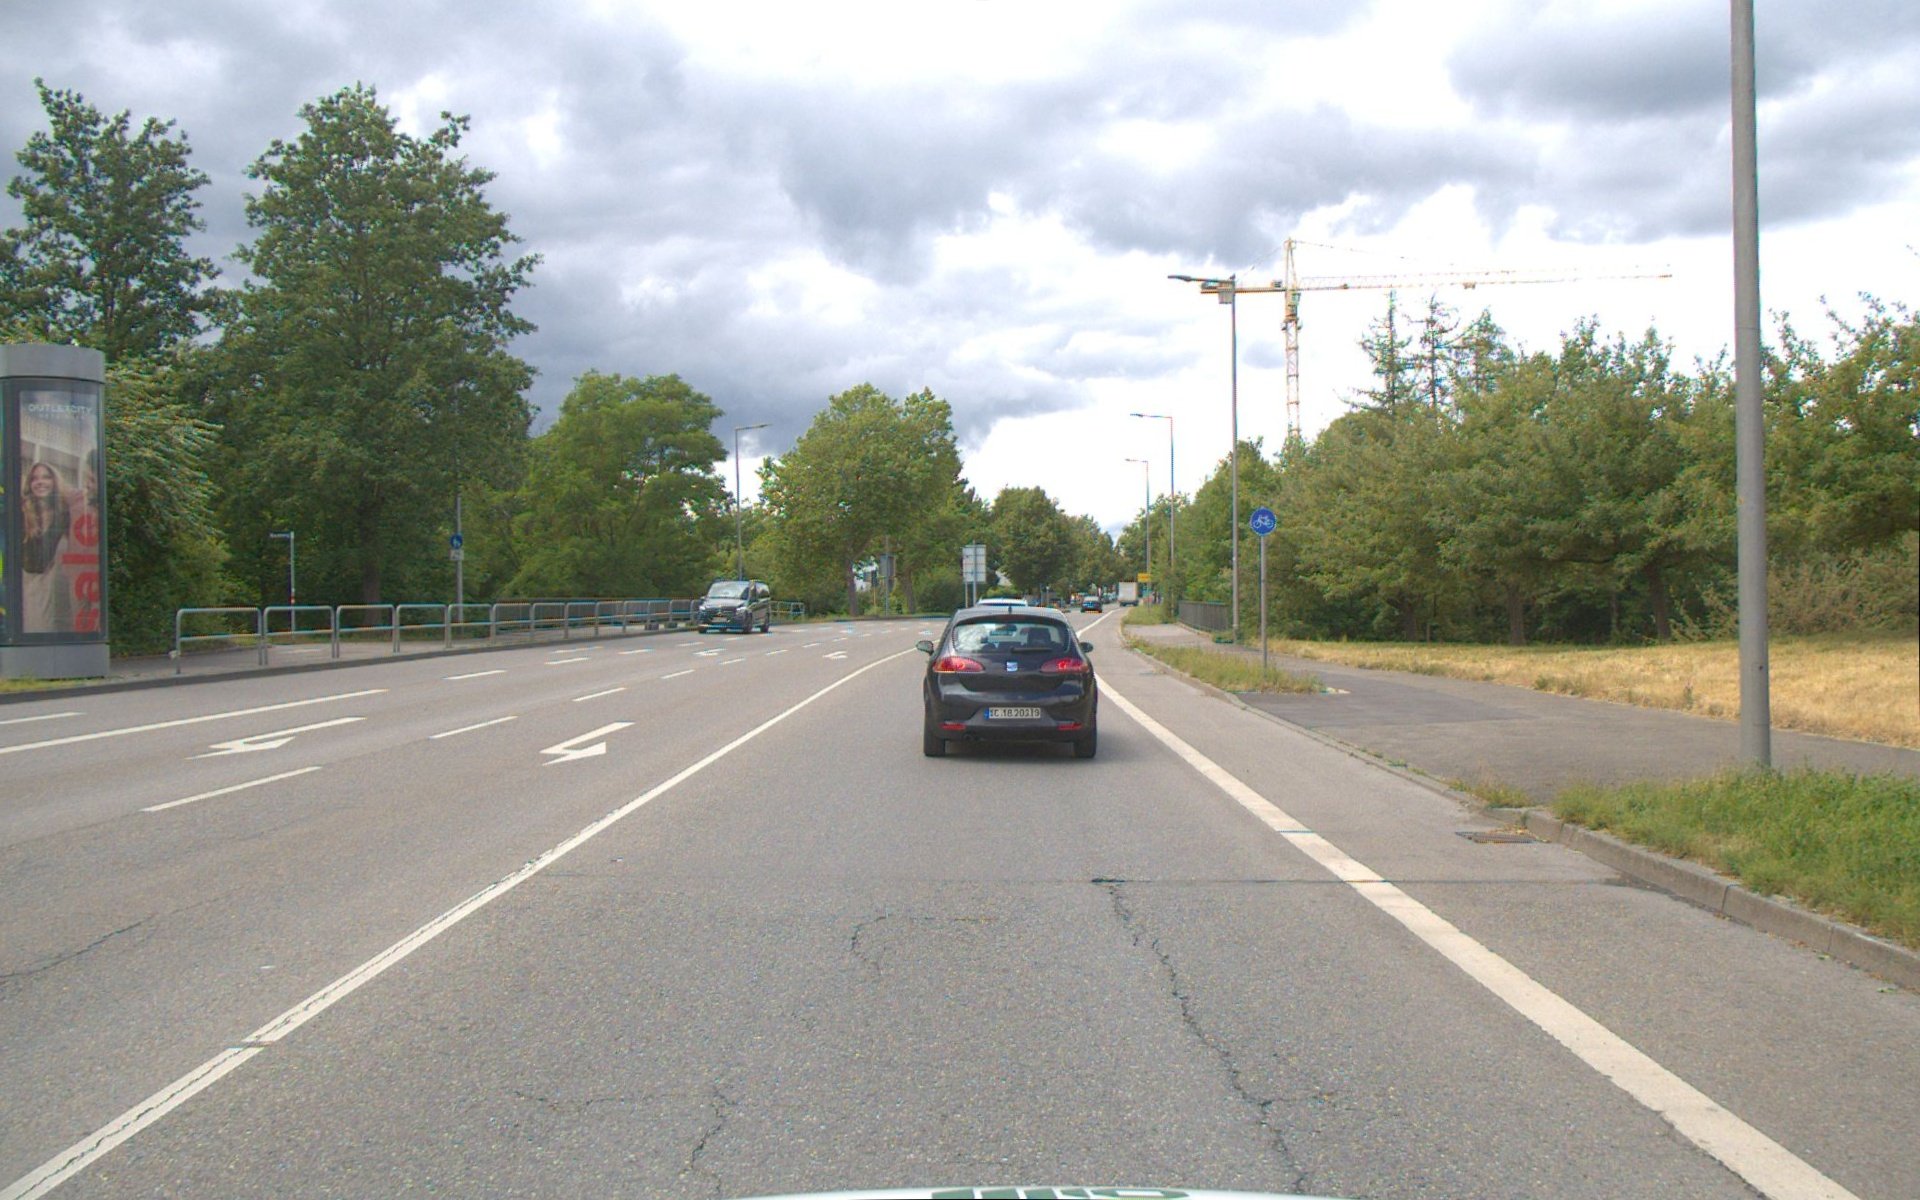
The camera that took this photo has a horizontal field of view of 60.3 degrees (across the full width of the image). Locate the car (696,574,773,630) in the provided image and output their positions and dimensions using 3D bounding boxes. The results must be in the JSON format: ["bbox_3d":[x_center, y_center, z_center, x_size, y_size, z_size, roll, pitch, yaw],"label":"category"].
[{"bbox_3d":[-8.322,0.040,61.506,1.976,1.981,5.366,0,0,1],"label":"car"}]

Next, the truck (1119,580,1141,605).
[{"bbox_3d":[22.057,-0.925,214.740,2.230,3.158,8.518,1,0,10],"label":"truck"}]

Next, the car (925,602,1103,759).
[{"bbox_3d":[0.577,0.753,17.260,1.628,1.426,3.813,1,0,2],"label":"car"}]

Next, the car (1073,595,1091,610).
[{"bbox_3d":[17.089,0.345,231.832,2.055,1.929,5.789,-3,0,8],"label":"car"}]

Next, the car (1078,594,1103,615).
[{"bbox_3d":[11.479,0.382,145.547,1.841,1.718,4.217,-1,0,8],"label":"car"}]

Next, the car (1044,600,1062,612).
[{"bbox_3d":[11.469,0.727,203.674,1.681,1.419,4.805,-3,0,8],"label":"car"}]

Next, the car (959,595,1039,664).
[{"bbox_3d":[0.960,0.675,39.746,1.807,1.536,3.813,1,0,2],"label":"car"}]
